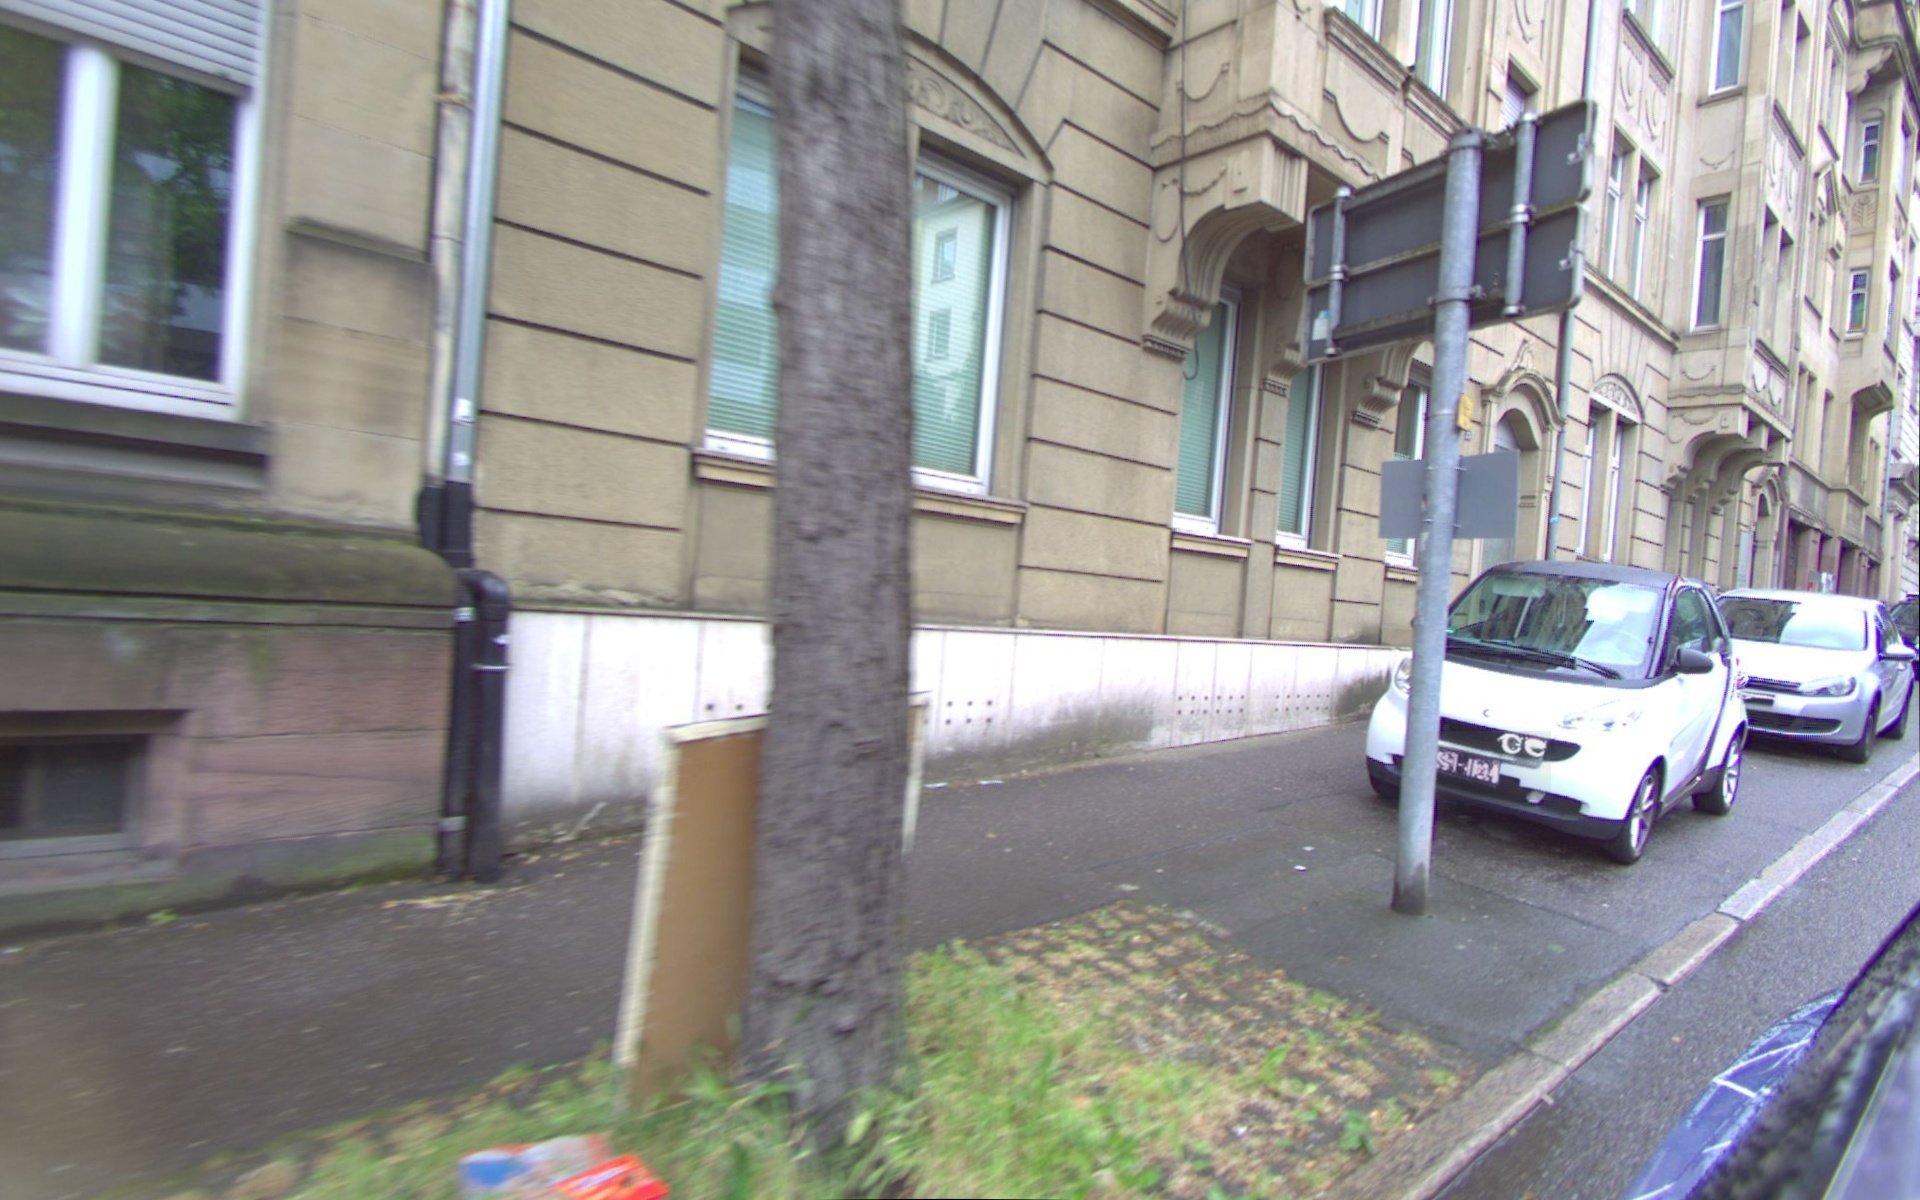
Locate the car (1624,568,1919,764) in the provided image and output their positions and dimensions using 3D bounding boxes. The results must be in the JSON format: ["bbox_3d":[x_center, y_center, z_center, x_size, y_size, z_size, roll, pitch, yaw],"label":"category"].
[{"bbox_3d":[8.490,0.531,10.283,3.929,1.468,1.765,0,6,-41],"label":"car"}]

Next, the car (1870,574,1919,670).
[{"bbox_3d":[18.938,0.461,19.199,4.025,1.670,1.765,0,6,-40],"label":"car"}]

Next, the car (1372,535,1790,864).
[{"bbox_3d":[4.046,0.470,6.456,2.923,1.561,1.303,0,6,-41],"label":"car"}]
